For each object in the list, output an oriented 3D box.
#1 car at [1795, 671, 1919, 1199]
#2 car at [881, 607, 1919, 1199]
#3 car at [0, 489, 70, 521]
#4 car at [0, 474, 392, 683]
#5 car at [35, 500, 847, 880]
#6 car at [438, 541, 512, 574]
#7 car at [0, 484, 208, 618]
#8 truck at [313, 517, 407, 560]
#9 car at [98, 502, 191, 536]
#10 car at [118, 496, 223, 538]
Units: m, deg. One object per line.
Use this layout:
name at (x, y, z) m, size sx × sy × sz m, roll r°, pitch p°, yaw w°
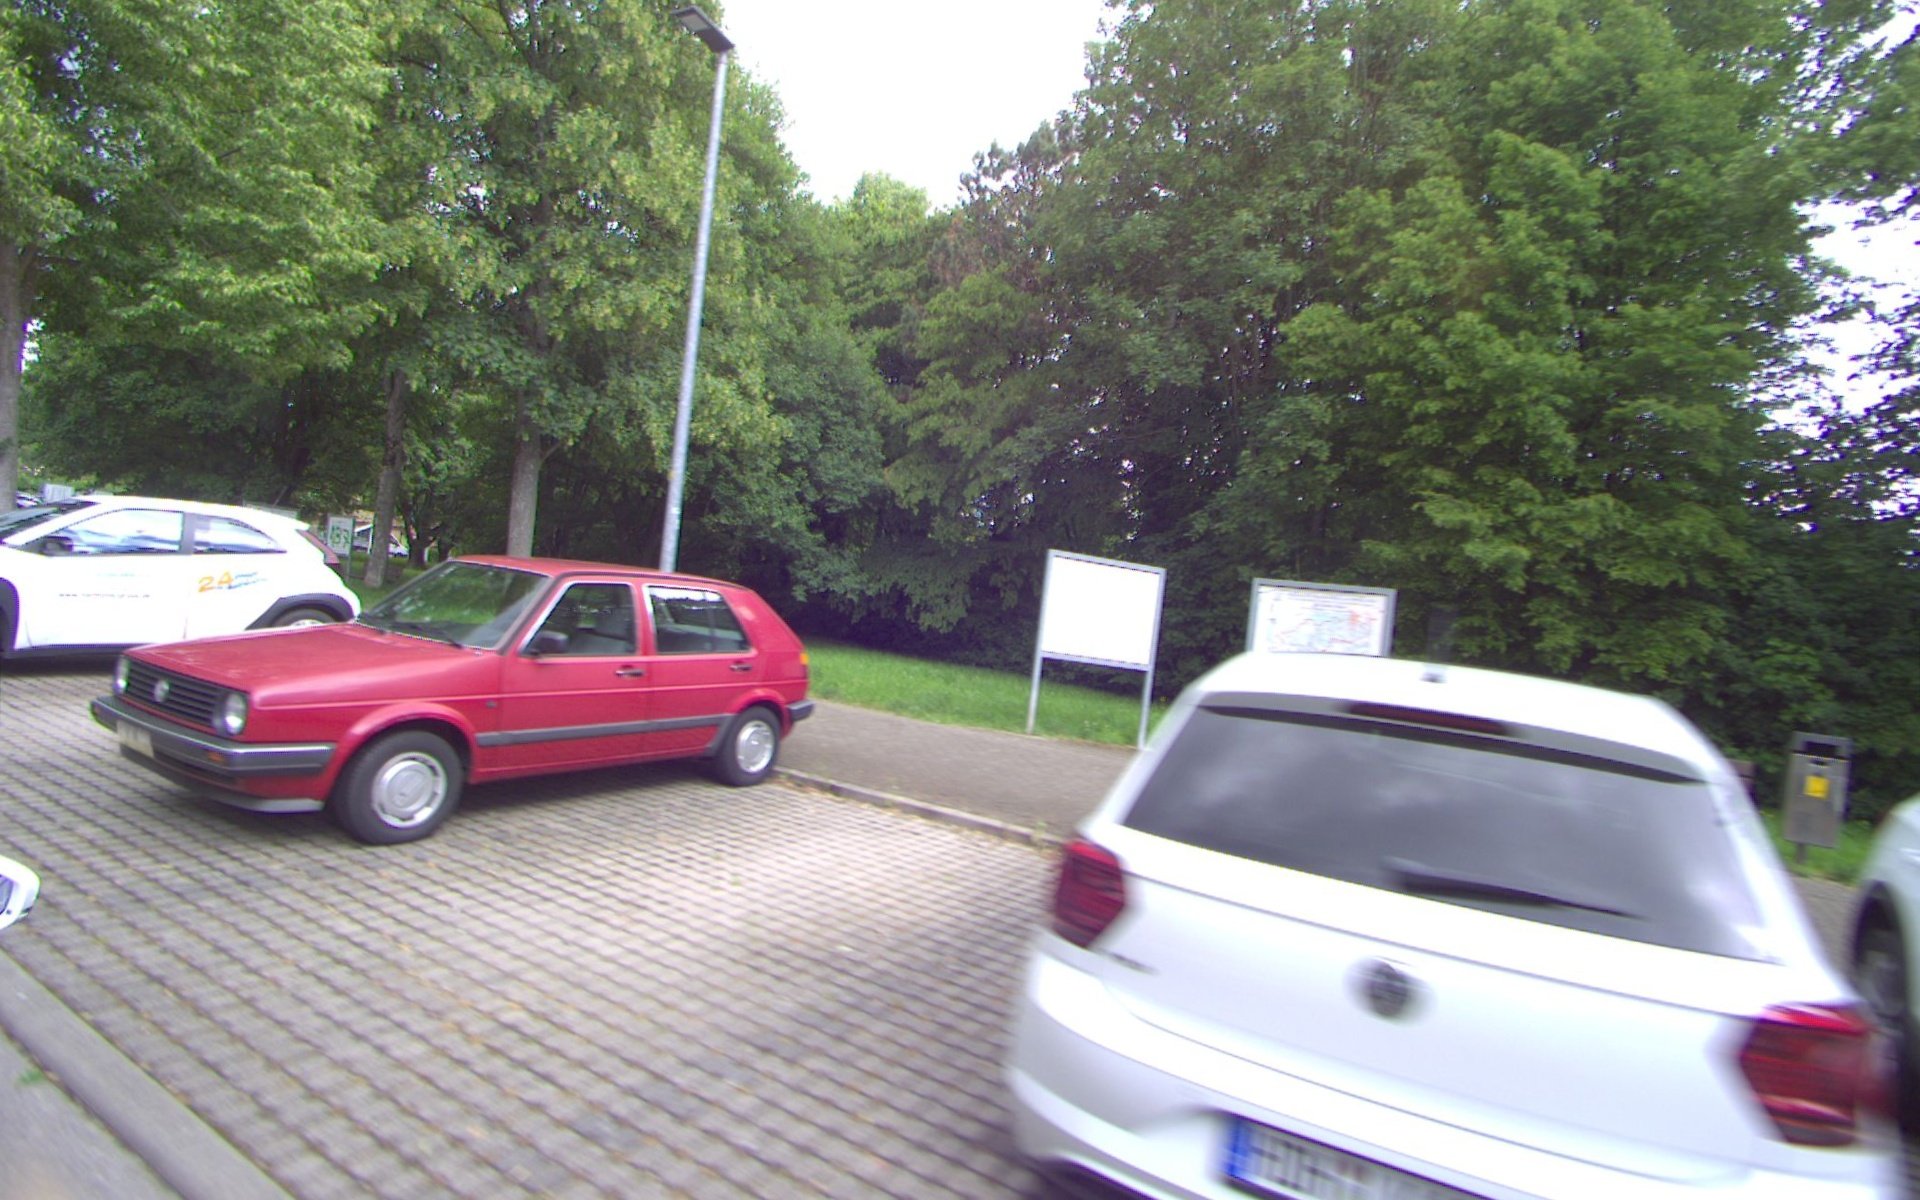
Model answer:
car at (3.396, 1.065, 1.948) m, size 1.829 × 1.567 × 4.118 m, roll 7°, pitch 1°, yaw 29°
car at (1.550, 0.906, 3.516) m, size 1.760 × 1.440 × 4.015 m, roll 7°, pitch 1°, yaw 26°
car at (-56.966, -5.845, 60.852) m, size 1.677 × 1.445 × 4.392 m, roll 6°, pitch -1°, yaw 37°
car at (-7.351, -0.191, 8.612) m, size 1.851 × 1.535 × 3.840 m, roll 7°, pitch 1°, yaw 34°
car at (-2.687, 0.417, 6.208) m, size 1.786 × 1.440 × 4.058 m, roll 7°, pitch 1°, yaw 30°
car at (-42.455, -3.685, 88.190) m, size 2.106 × 2.081 × 5.318 m, roll 7°, pitch -1°, yaw 38°
car at (-11.974, -0.698, 11.934) m, size 1.816 × 1.473 × 4.489 m, roll 7°, pitch 1°, yaw 31°
truck at (-45.319, -4.609, 76.102) m, size 2.160 × 2.455 × 5.505 m, roll 6°, pitch -1°, yaw 38°
car at (-53.152, -5.269, 65.630) m, size 1.678 × 1.445 × 4.427 m, roll 6°, pitch -1°, yaw 38°
car at (-55.228, -5.771, 70.448) m, size 2.106 × 2.081 × 5.318 m, roll 7°, pitch -1°, yaw 38°
